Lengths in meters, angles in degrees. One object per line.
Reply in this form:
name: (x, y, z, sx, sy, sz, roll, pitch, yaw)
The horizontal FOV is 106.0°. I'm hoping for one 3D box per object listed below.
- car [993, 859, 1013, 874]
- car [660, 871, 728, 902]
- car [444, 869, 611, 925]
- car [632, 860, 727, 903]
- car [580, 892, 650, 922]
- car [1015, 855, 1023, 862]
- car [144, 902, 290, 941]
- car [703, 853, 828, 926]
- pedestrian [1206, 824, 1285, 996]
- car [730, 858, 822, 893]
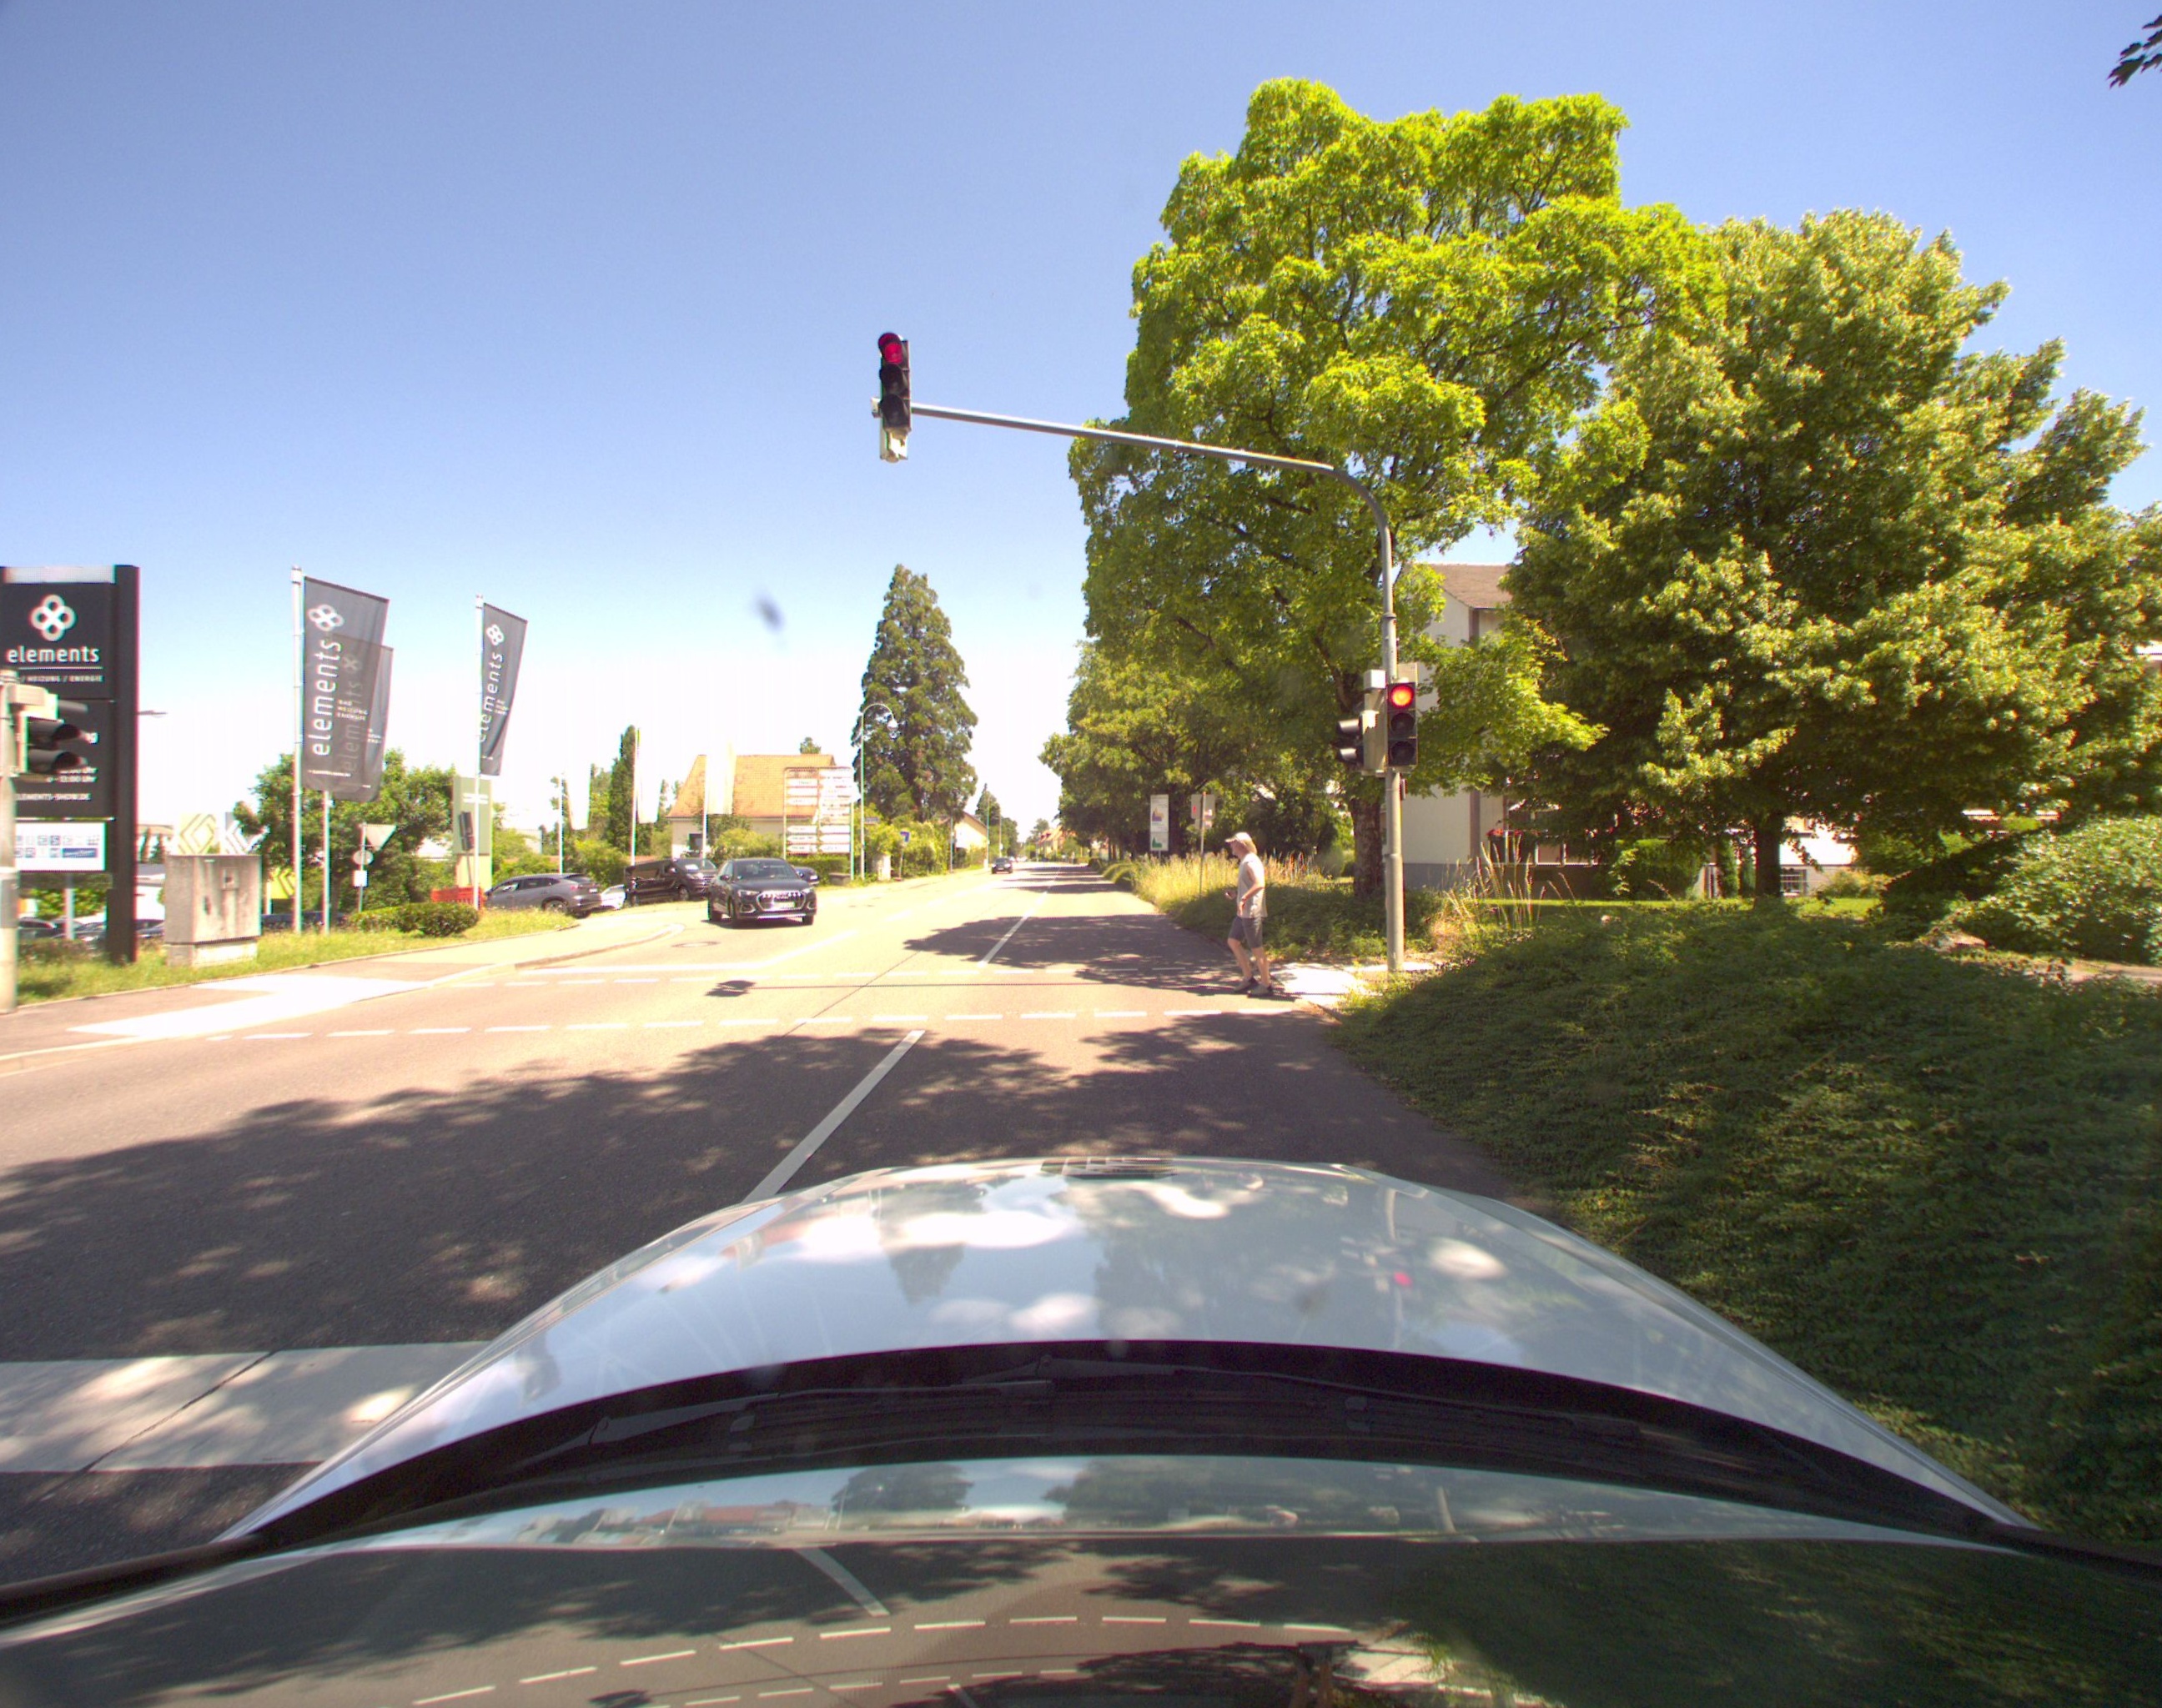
car: (-7.083, 1.138, 74.000, 1.426, 1.322, 3.356, 0, -1, 2)
car: (-19.199, 1.600, 40.466, 2.646, 1.427, 1.345, -2, 0, -1)
car: (-18.824, 1.427, 27.874, 4.296, 1.717, 1.879, -1, 0, -10)
car: (-16.404, 1.107, 33.373, 3.144, 1.714, 1.569, 0, -1, -9)
car: (-23.305, 2.631, 40.854, 1.743, 1.226, 3.240, 0, 0, -3)
car: (-14.187, 1.068, 186.170, 1.551, 1.448, 3.786, 0, -1, -2)
car: (-34.716, 2.709, 32.813, 3.973, 1.413, 1.756, 0, -1, 0)
car: (-7.781, 0.833, 19.807, 1.936, 1.526, 4.261, -2, -1, -34)
pedestrian: (1.757, 0.575, 8.700, 0.565, 1.751, 0.607, 0, -1, -45)
car: (-13.571, 0.946, 36.407, 3.486, 1.427, 1.597, -2, 0, -6)
